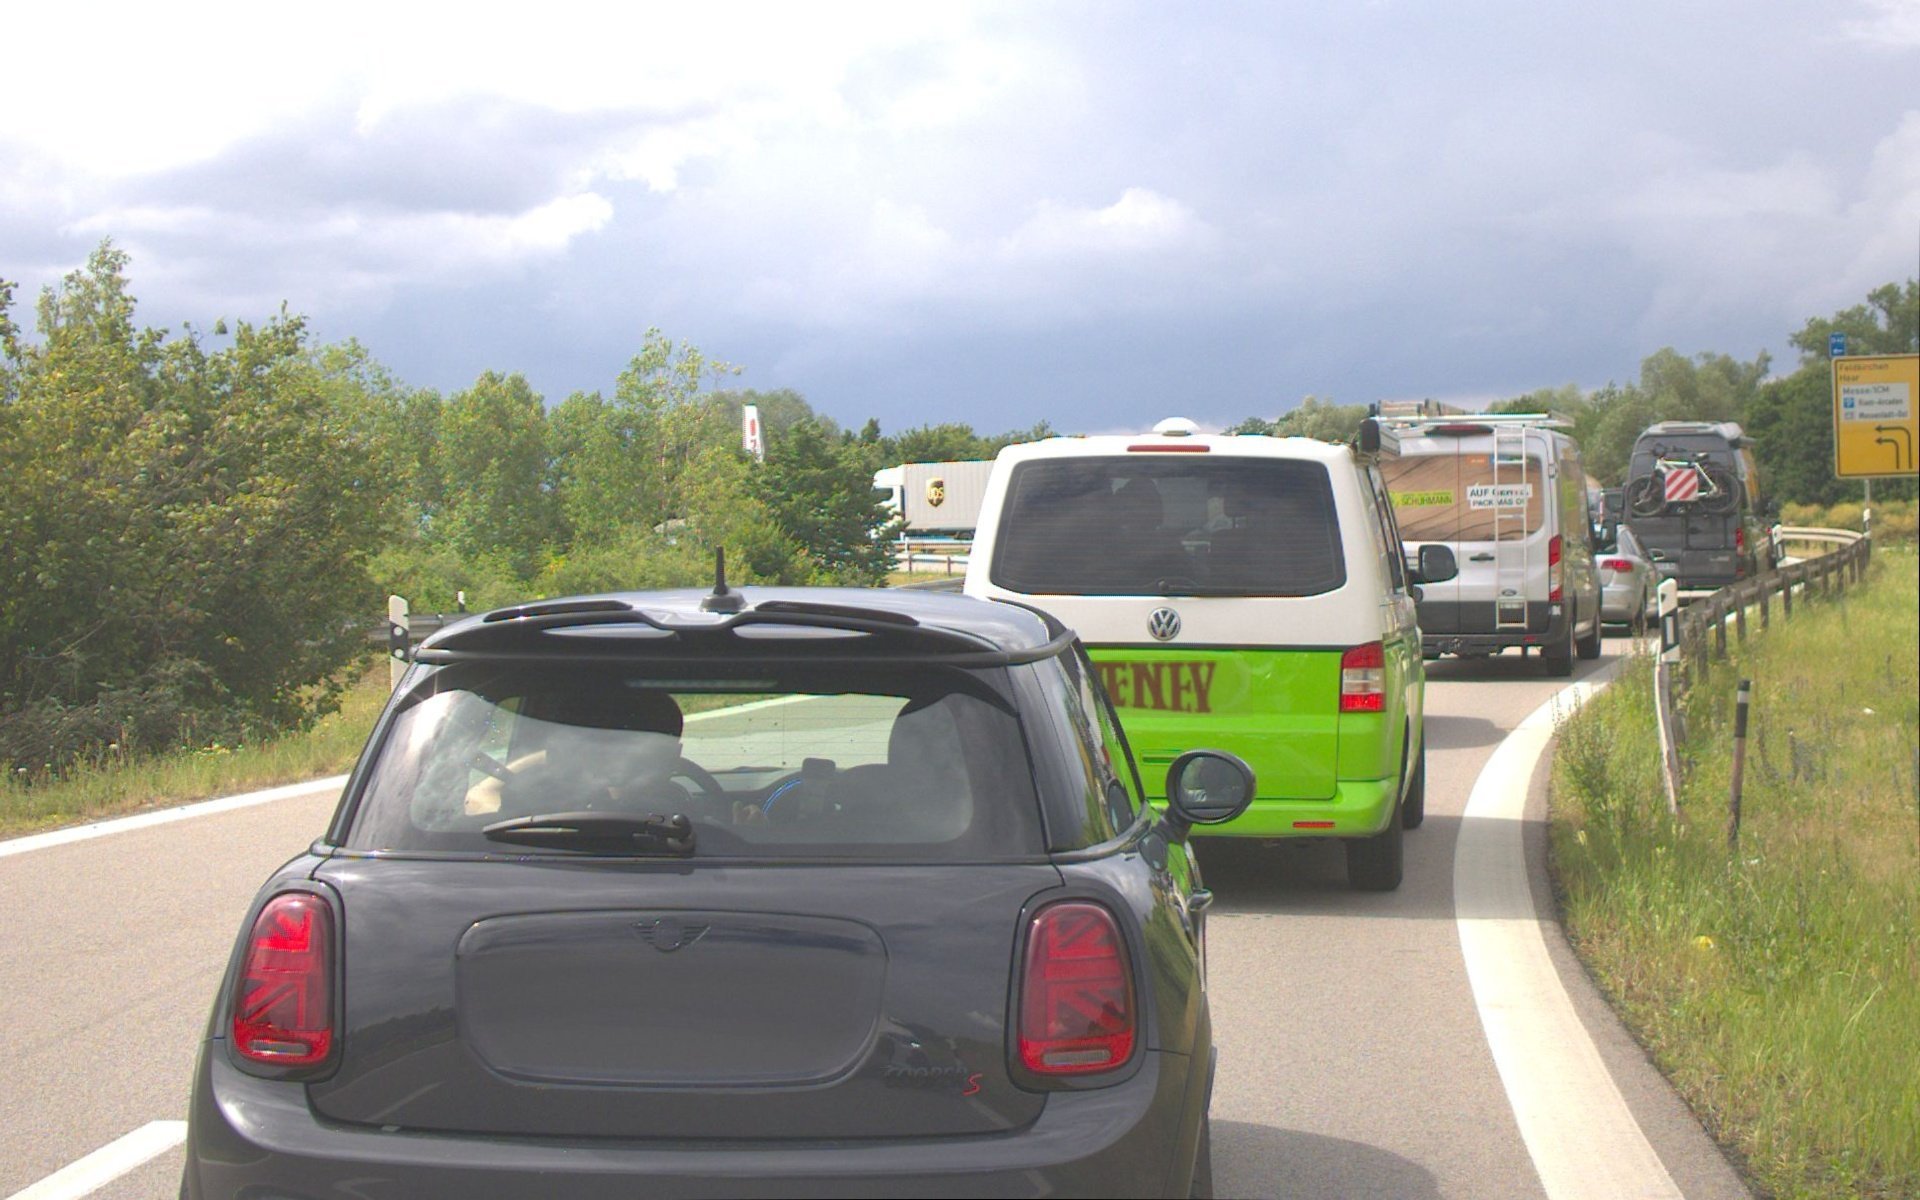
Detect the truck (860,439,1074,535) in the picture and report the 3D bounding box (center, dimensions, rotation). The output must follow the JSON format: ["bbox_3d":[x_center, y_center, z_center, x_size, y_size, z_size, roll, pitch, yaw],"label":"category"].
[{"bbox_3d":[0.233,-4.814,148.181,10.023,3.962,2.838,1,1,44],"label":"truck"}]

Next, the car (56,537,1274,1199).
[{"bbox_3d":[-0.331,0.652,6.922,1.800,1.541,3.738,0,1,4],"label":"car"}]

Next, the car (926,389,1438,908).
[{"bbox_3d":[1.157,0.154,15.714,1.912,2.038,4.179,0,1,10],"label":"car"}]

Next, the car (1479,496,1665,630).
[{"bbox_3d":[7.935,-0.476,44.342,1.995,1.636,3.926,1,1,15],"label":"car"}]

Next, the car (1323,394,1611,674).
[{"bbox_3d":[5.253,-0.650,34.967,2.213,2.613,5.530,1,1,15],"label":"car"}]

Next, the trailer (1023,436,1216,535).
[{"bbox_3d":[6.479,-4.644,141.130,3.036,3.884,8.771,0,1,-36],"label":"trailer"}]

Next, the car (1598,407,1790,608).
[{"bbox_3d":[12.025,-1.446,55.959,2.313,3.058,6.656,1,1,18],"label":"car"}]
